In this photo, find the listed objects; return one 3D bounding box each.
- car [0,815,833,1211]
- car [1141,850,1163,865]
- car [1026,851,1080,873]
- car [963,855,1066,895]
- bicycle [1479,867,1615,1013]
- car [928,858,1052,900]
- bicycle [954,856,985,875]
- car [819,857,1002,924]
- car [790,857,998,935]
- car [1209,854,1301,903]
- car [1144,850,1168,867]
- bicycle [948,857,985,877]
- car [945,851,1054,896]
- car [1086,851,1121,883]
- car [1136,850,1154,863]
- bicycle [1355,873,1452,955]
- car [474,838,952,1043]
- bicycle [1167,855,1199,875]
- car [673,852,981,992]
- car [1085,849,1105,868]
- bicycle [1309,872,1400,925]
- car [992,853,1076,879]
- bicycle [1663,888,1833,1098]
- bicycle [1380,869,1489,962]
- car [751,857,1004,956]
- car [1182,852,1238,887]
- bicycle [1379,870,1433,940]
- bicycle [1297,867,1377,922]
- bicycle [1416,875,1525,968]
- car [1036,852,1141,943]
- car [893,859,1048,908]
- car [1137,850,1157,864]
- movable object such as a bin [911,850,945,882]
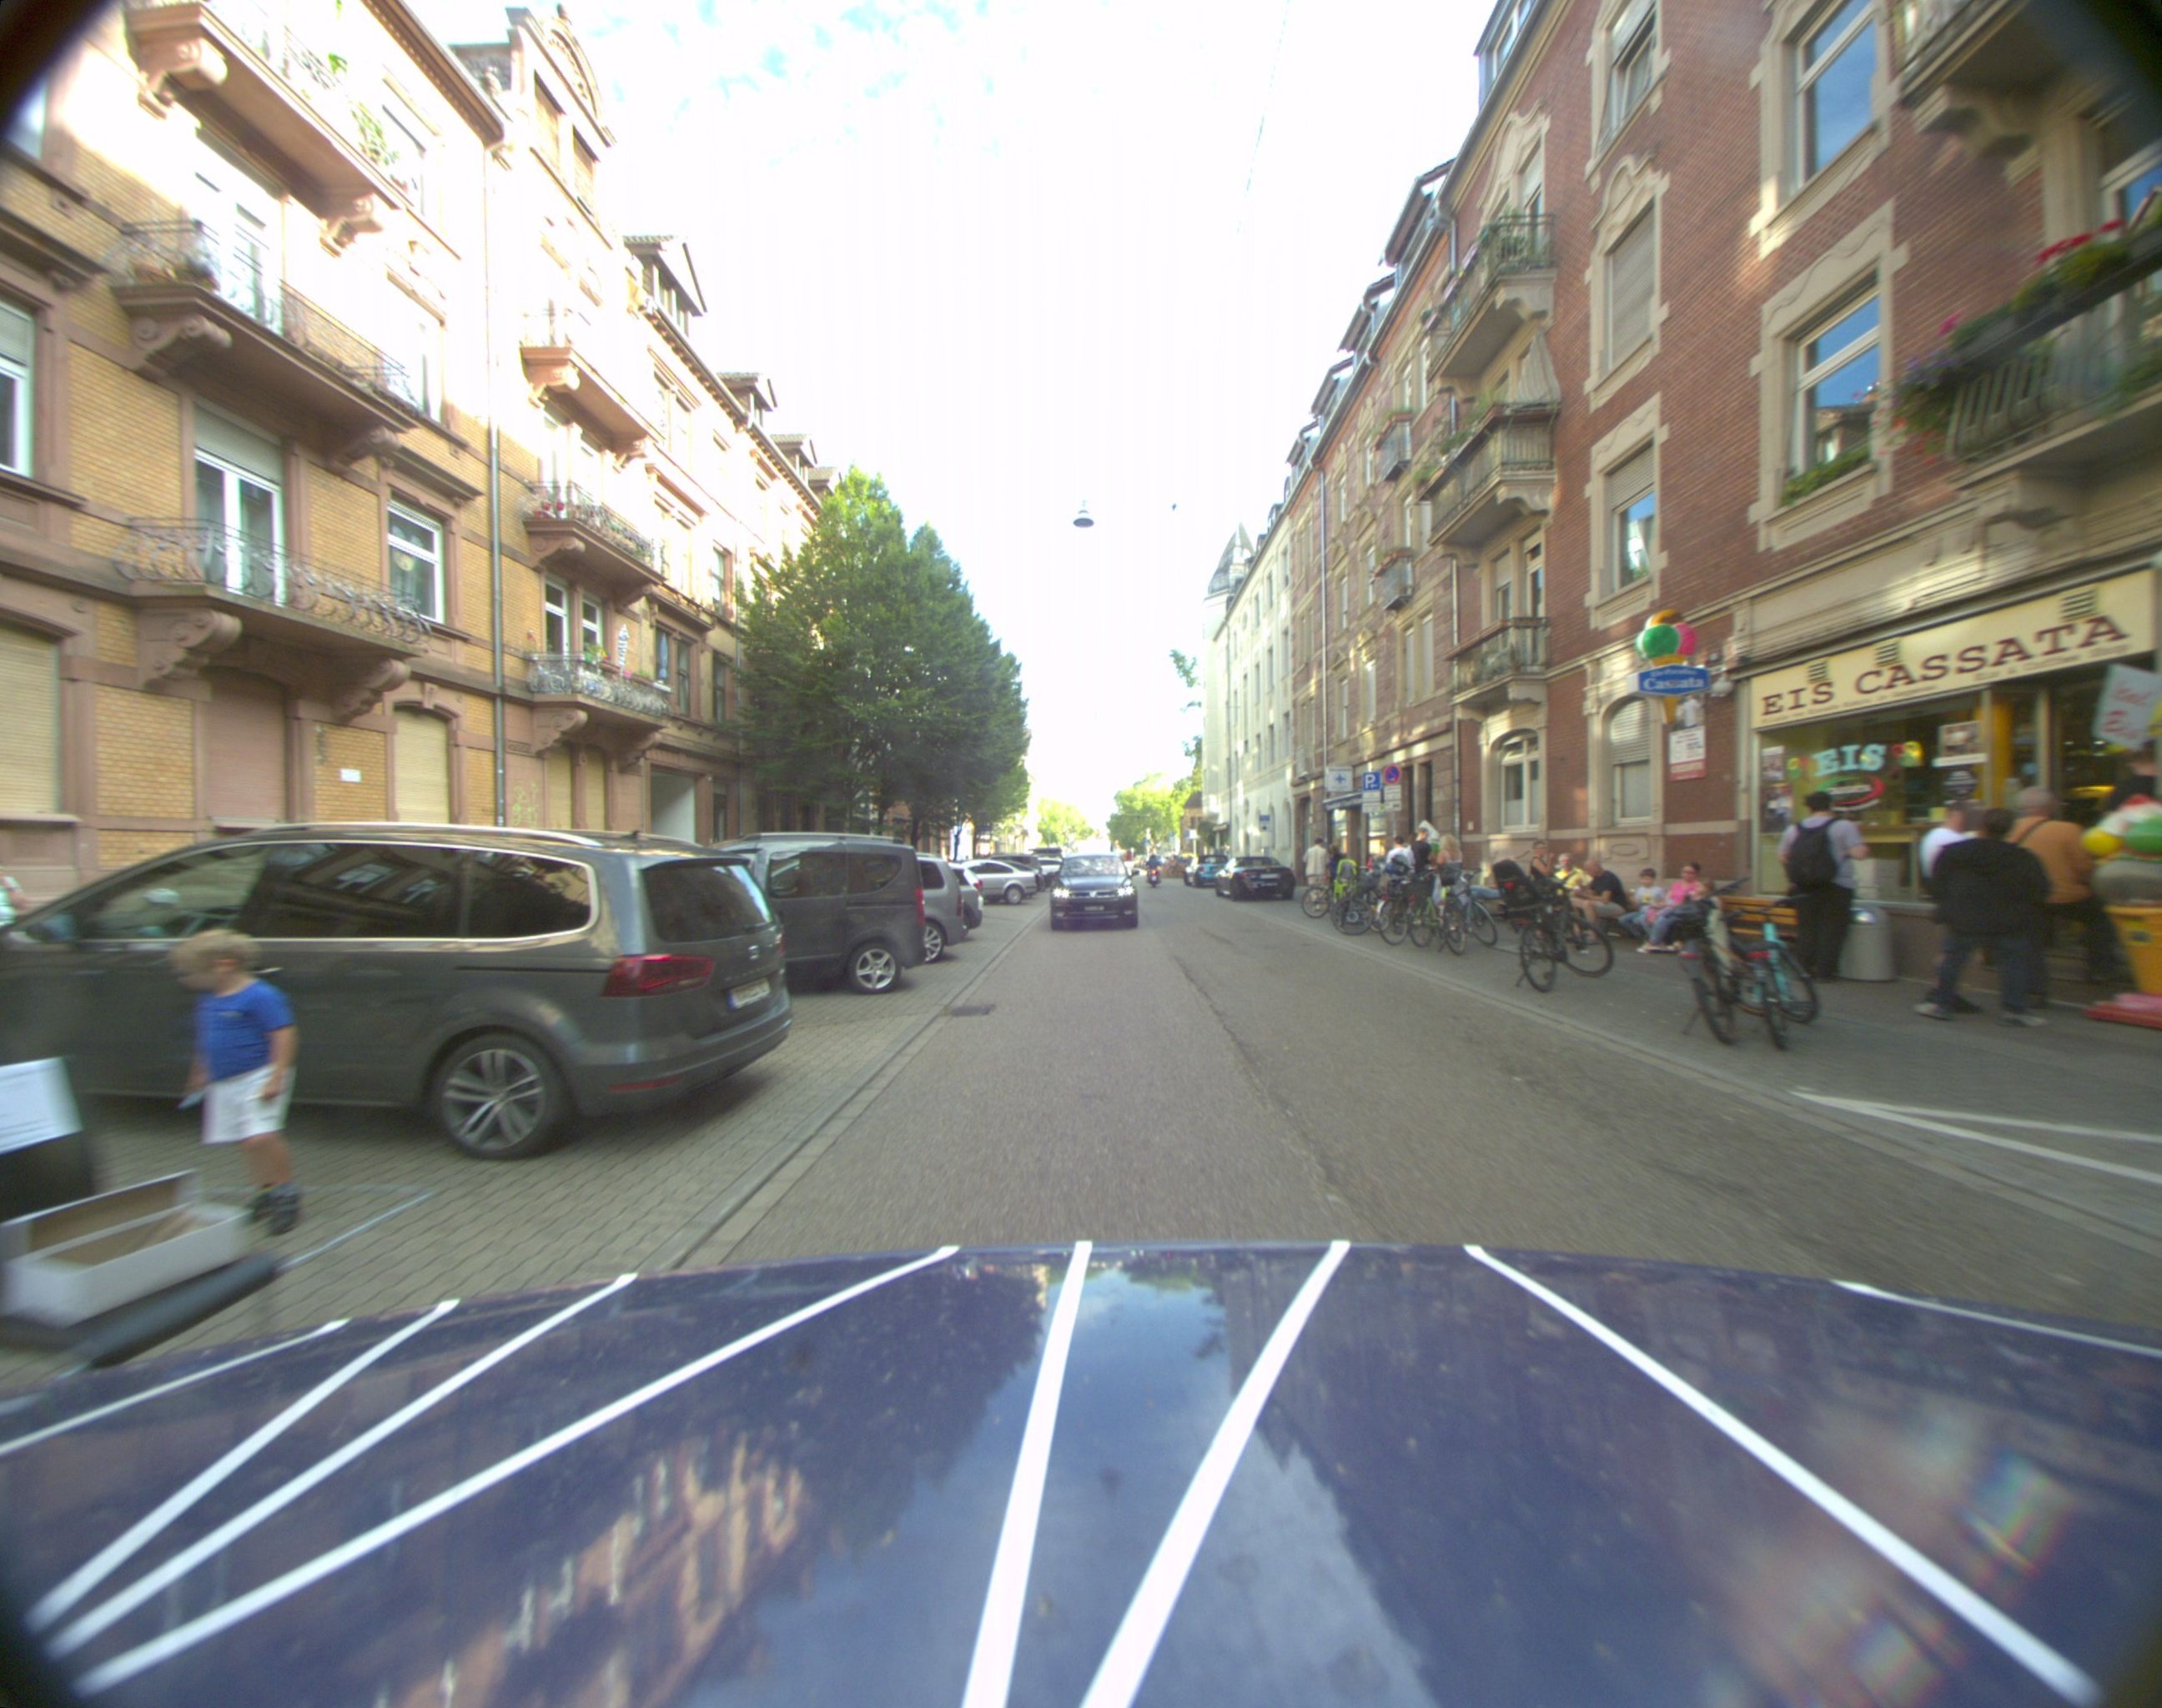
[{"bbox_3d":[-4.134,0.759,4.521,4.648,1.774,1.810,2,-2,0],"label":"car"},{"bbox_3d":[7.102,0.369,76.770,1.911,1.412,4.000,-2,0,2],"label":"car"},{"bbox_3d":[-2.320,0.655,63.575,4.006,1.663,1.923,-2,1,-30],"label":"car"},{"bbox_3d":[-2.935,0.879,33.719,4.132,1.512,1.840,-2,2,-35],"label":"car"},{"bbox_3d":[4.860,0.829,7.893,1.680,1.314,0.526,-3,1,-34],"label":"bicycle"},{"bbox_3d":[-3.315,0.882,27.968,4.145,1.409,1.864,0,0,-34],"label":"car"},{"bbox_3d":[-7.202,0.734,49.267,1.896,1.113,0.618,3,1,-1],"label":"bicycle"},{"bbox_3d":[-4.210,0.845,18.895,4.008,1.453,1.882,1,1,-34],"label":"car"},{"bbox_3d":[-4.008,0.880,16.460,4.007,1.442,1.731,2,1,-30],"label":"car"},{"bbox_3d":[5.493,0.722,24.656,1.816,1.343,5.115,-2,0,1],"label":"car"},{"bbox_3d":[6.937,0.395,70.686,1.828,1.477,4.170,-2,0,2],"label":"car"},{"bbox_3d":[-6.768,0.768,44.877,2.025,1.089,0.820,3,1,1],"label":"bicycle"},{"bbox_3d":[-3.299,0.754,30.896,4.007,1.689,1.848,0,0,-33],"label":"car"},{"bbox_3d":[1.311,0.705,42.999,1.810,1.622,4.001,-3,0,3],"label":"car"},{"bbox_3d":[7.573,0.258,90.314,1.911,1.412,4.000,-2,0,2],"label":"car"},{"bbox_3d":[4.976,0.894,11.703,1.573,1.114,0.589,-3,1,-35],"label":"bicycle"},{"bbox_3d":[-3.877,0.778,8.567,4.411,1.812,1.751,1,1,-30],"label":"car"},{"bbox_3d":[6.293,0.686,47.052,1.872,1.168,0.688,-2,1,3],"label":"bicycle"},{"bbox_3d":[-3.694,0.848,11.147,4.006,1.731,1.835,0,0,-29],"label":"car"},{"bbox_3d":[1.489,0.455,80.059,1.810,1.914,4.001,-3,0,3],"label":"car"},{"bbox_3d":[5.535,0.910,15.407,1.683,1.024,0.410,-2,1,22],"label":"bicycle"},{"bbox_3d":[-2.889,0.743,47.180,4.816,1.535,1.866,1,1,-30],"label":"car"},{"bbox_3d":[5.017,0.908,5.814,0.806,1.152,2.274,-2,1,39],"label":"bicycle"},{"bbox_3d":[5.176,0.854,11.081,1.794,1.193,0.589,-3,1,-34],"label":"bicycle"},{"bbox_3d":[-3.628,0.862,13.807,4.008,1.539,1.864,1,0,-35],"label":"car"},{"bbox_3d":[5.736,0.643,34.255,1.674,1.407,4.011,-2,0,-2],"label":"car"},{"bbox_3d":[5.683,0.870,13.366,0.579,1.084,1.740,-2,0,15],"label":"bicycle"},{"bbox_3d":[5.452,0.856,16.244,1.577,1.110,0.375,-2,1,40],"label":"bicycle"},{"bbox_3d":[5.394,0.886,10.488,1.741,1.114,0.554,-3,1,-34],"label":"bicycle"},{"bbox_3d":[0.303,0.826,16.600,1.874,1.644,4.388,-2,0,5],"label":"car"},{"bbox_3d":[-3.533,0.914,24.622,4.620,1.443,1.788,1,0,-30],"label":"car"},{"bbox_3d":[7.192,0.323,83.137,1.911,1.412,4.000,-2,0,2],"label":"car"},{"bbox_3d":[-7.731,0.608,38.430,1.375,1.451,1.164,6,1,-1],"label":"movable object such as a bin"}]
